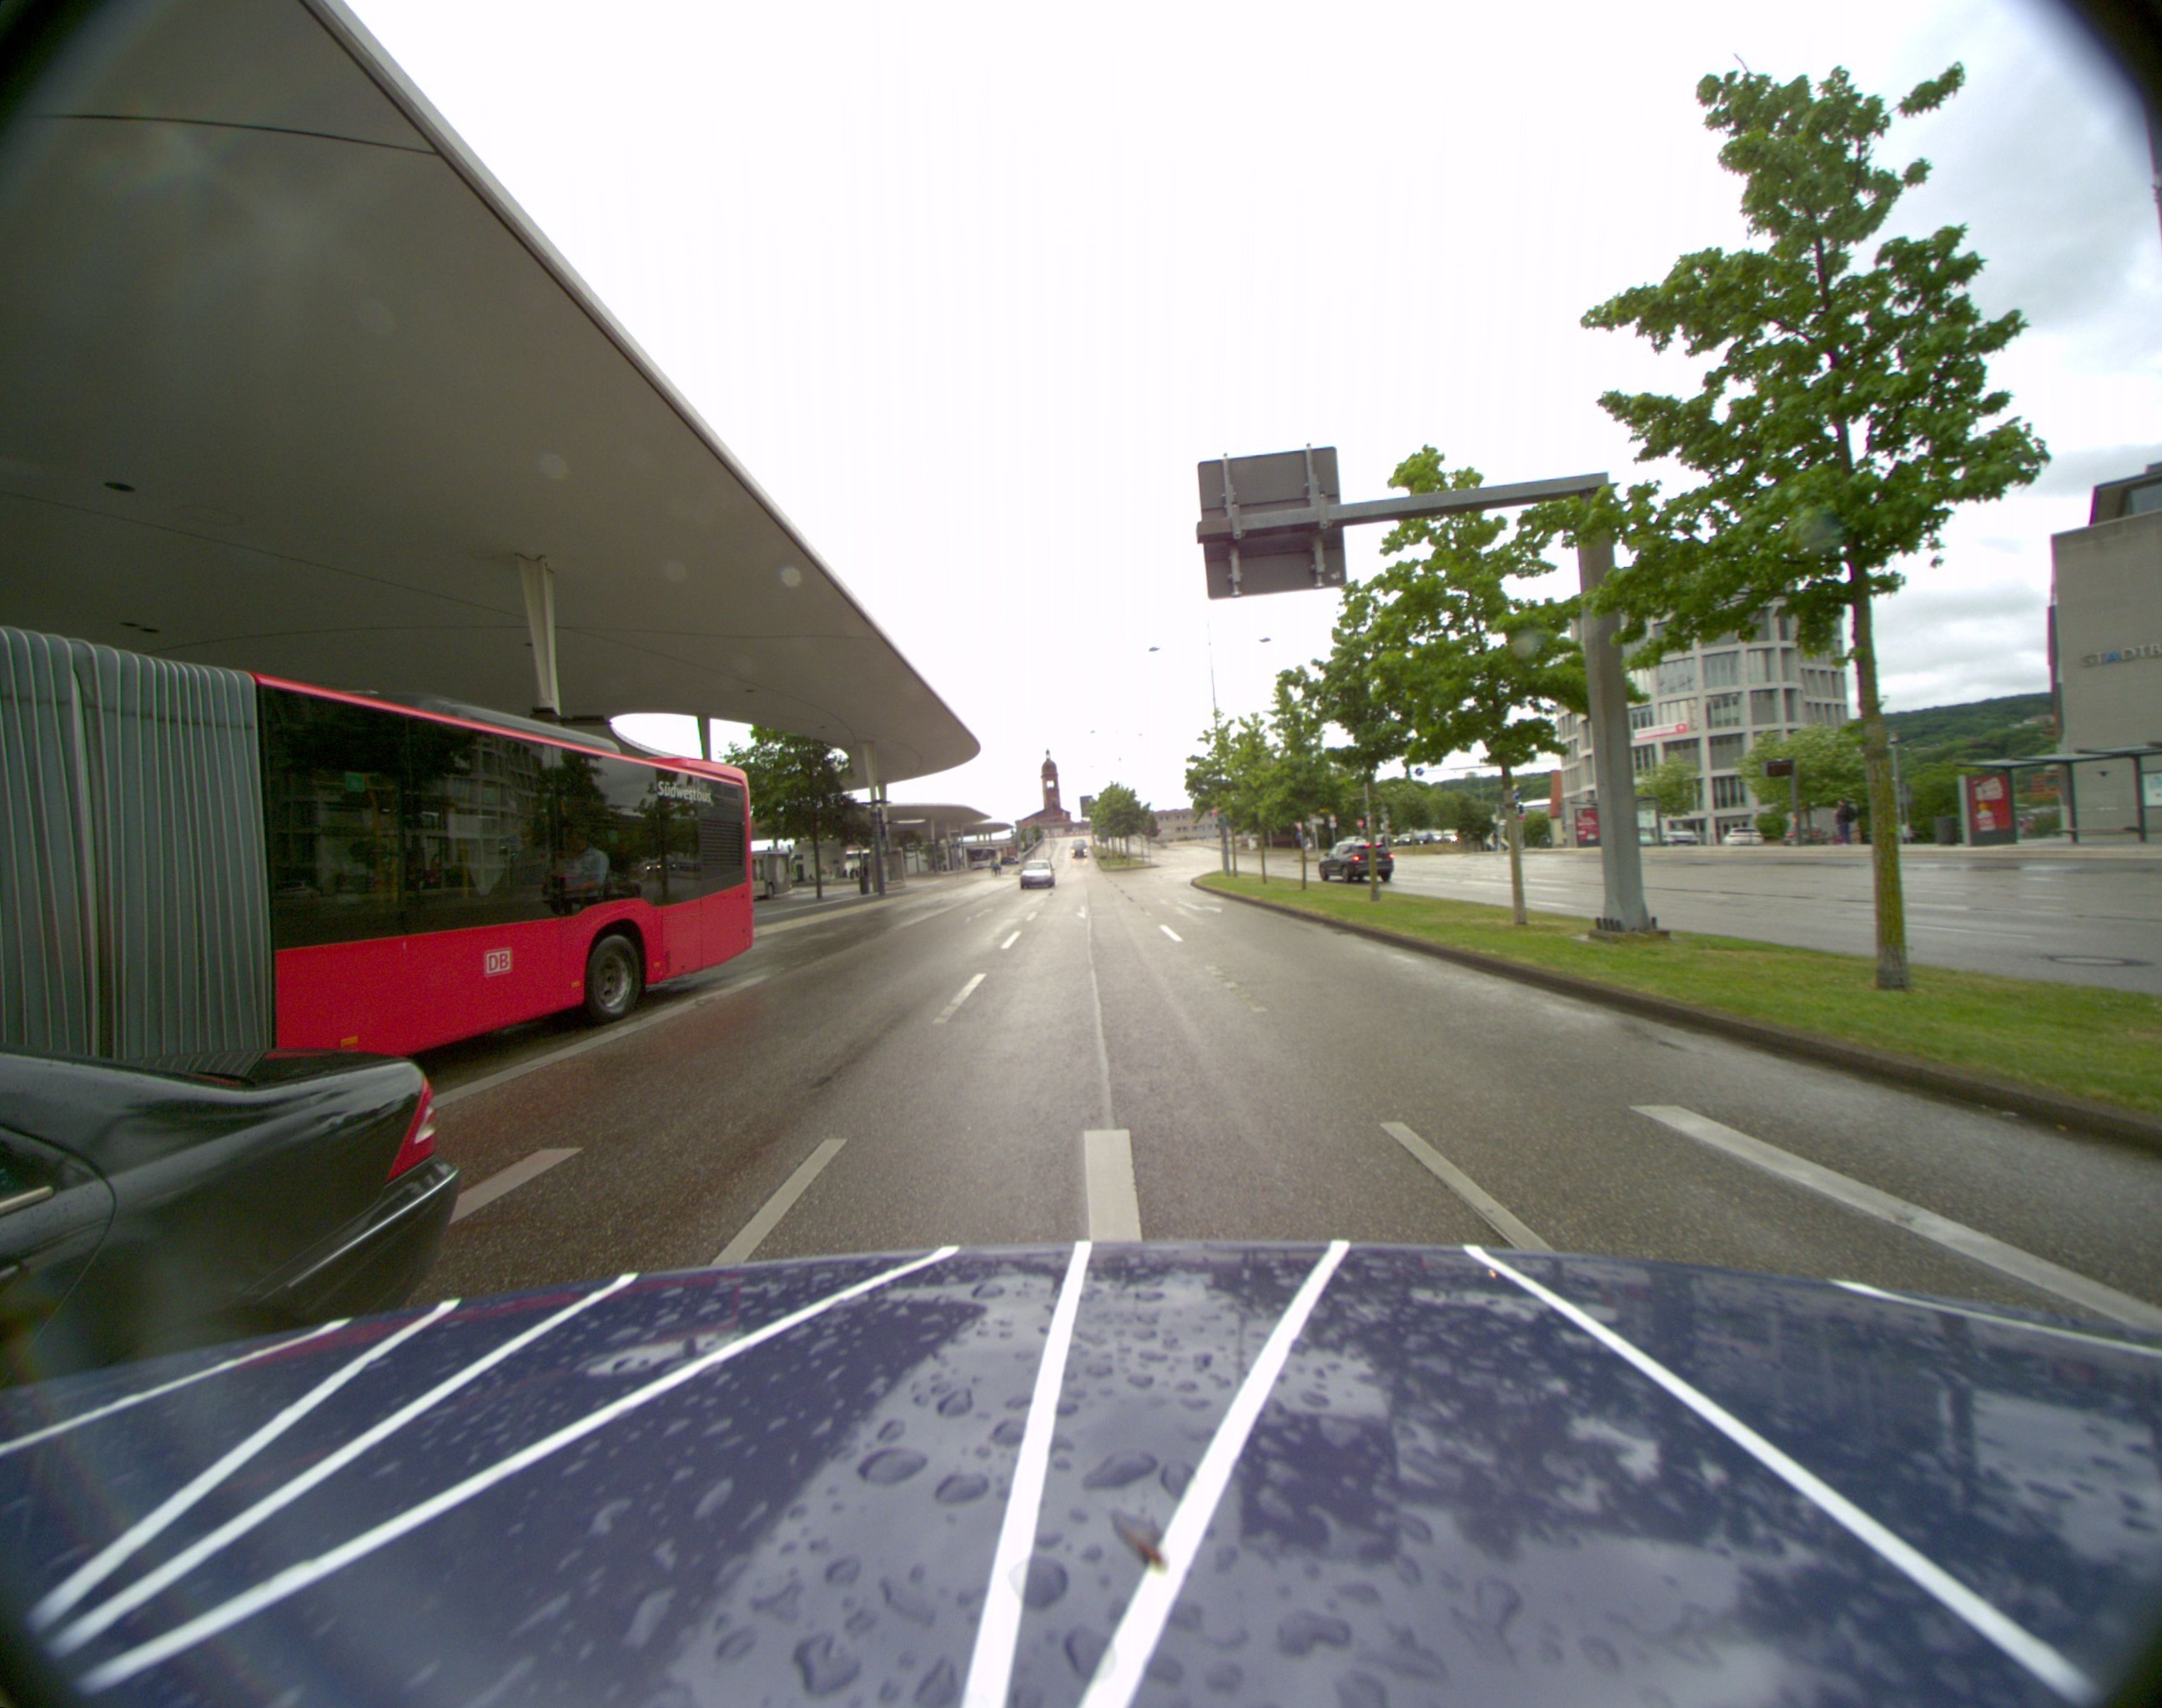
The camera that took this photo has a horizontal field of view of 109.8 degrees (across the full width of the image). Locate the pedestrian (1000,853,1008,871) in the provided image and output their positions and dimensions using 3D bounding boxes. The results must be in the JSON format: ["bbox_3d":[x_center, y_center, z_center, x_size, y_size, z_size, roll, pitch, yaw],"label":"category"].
[{"bbox_3d":[-7.087,0.705,69.714,0.557,1.614,0.552,-3,1,1],"label":"pedestrian"}]

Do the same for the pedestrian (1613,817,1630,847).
[{"bbox_3d":[30.051,-1.237,42.236,0.520,1.625,0.536,-2,1,1],"label":"pedestrian"}]

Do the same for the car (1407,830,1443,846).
[{"bbox_3d":[42.086,-1.961,92.916,4.925,1.702,2.190,-3,1,-43],"label":"car"}]

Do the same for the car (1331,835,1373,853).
[{"bbox_3d":[30.173,-1.114,84.538,4.925,1.702,2.190,-3,1,-42],"label":"car"}]

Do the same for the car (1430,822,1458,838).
[{"bbox_3d":[46.867,-3.089,98.120,1.994,2.002,4.008,-2,0,44],"label":"car"}]

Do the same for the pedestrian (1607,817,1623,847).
[{"bbox_3d":[29.502,-1.210,42.002,0.504,1.625,0.502,-2,1,1],"label":"pedestrian"}]

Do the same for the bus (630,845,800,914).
[{"bbox_3d":[-19.862,1.170,42.691,3.003,3.088,12.355,-4,0,2],"label":"bus"}]

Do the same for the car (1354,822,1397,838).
[{"bbox_3d":[41.218,-3.343,106.504,2.315,2.002,5.021,-3,1,-41],"label":"car"}]

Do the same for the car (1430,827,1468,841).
[{"bbox_3d":[49.885,-2.650,103.098,2.196,1.702,4.912,-3,0,-10],"label":"car"}]

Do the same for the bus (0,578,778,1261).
[{"bbox_3d":[-6.152,0.350,7.588,2.750,3.155,8.120,-3,0,1],"label":"bus"}]

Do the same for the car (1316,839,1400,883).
[{"bbox_3d":[11.605,0.272,32.184,1.826,1.630,4.599,-3,0,0],"label":"car"}]

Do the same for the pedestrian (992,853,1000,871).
[{"bbox_3d":[-7.774,0.714,69.667,0.576,1.614,0.588,-3,1,1],"label":"pedestrian"}]

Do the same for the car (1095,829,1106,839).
[{"bbox_3d":[3.733,-3.884,149.285,1.998,1.765,4.000,-3,0,1],"label":"car"}]

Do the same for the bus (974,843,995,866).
[{"bbox_3d":[-14.309,0.069,113.253,2.675,3.111,9.712,-3,0,-5],"label":"bus"}]

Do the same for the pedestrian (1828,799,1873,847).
[{"bbox_3d":[29.255,-1.185,28.898,0.787,1.750,0.972,-3,1,-28],"label":"pedestrian"}]

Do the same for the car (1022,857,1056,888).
[{"bbox_3d":[-2.204,0.943,40.469,1.627,1.450,3.735,-3,0,-2],"label":"car"}]

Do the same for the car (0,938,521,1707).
[{"bbox_3d":[-2.812,1.143,0.296,1.750,1.472,4.434,-6,1,0],"label":"car"}]

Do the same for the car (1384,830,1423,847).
[{"bbox_3d":[36.979,-1.808,87.111,4.925,1.702,2.190,-3,1,-43],"label":"car"}]

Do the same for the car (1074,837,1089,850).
[{"bbox_3d":[0.071,-1.369,101.393,1.704,1.656,3.998,-3,1,-2],"label":"car"}]

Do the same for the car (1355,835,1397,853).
[{"bbox_3d":[31.630,-1.079,81.478,4.925,1.702,2.190,-3,1,-43],"label":"car"}]
